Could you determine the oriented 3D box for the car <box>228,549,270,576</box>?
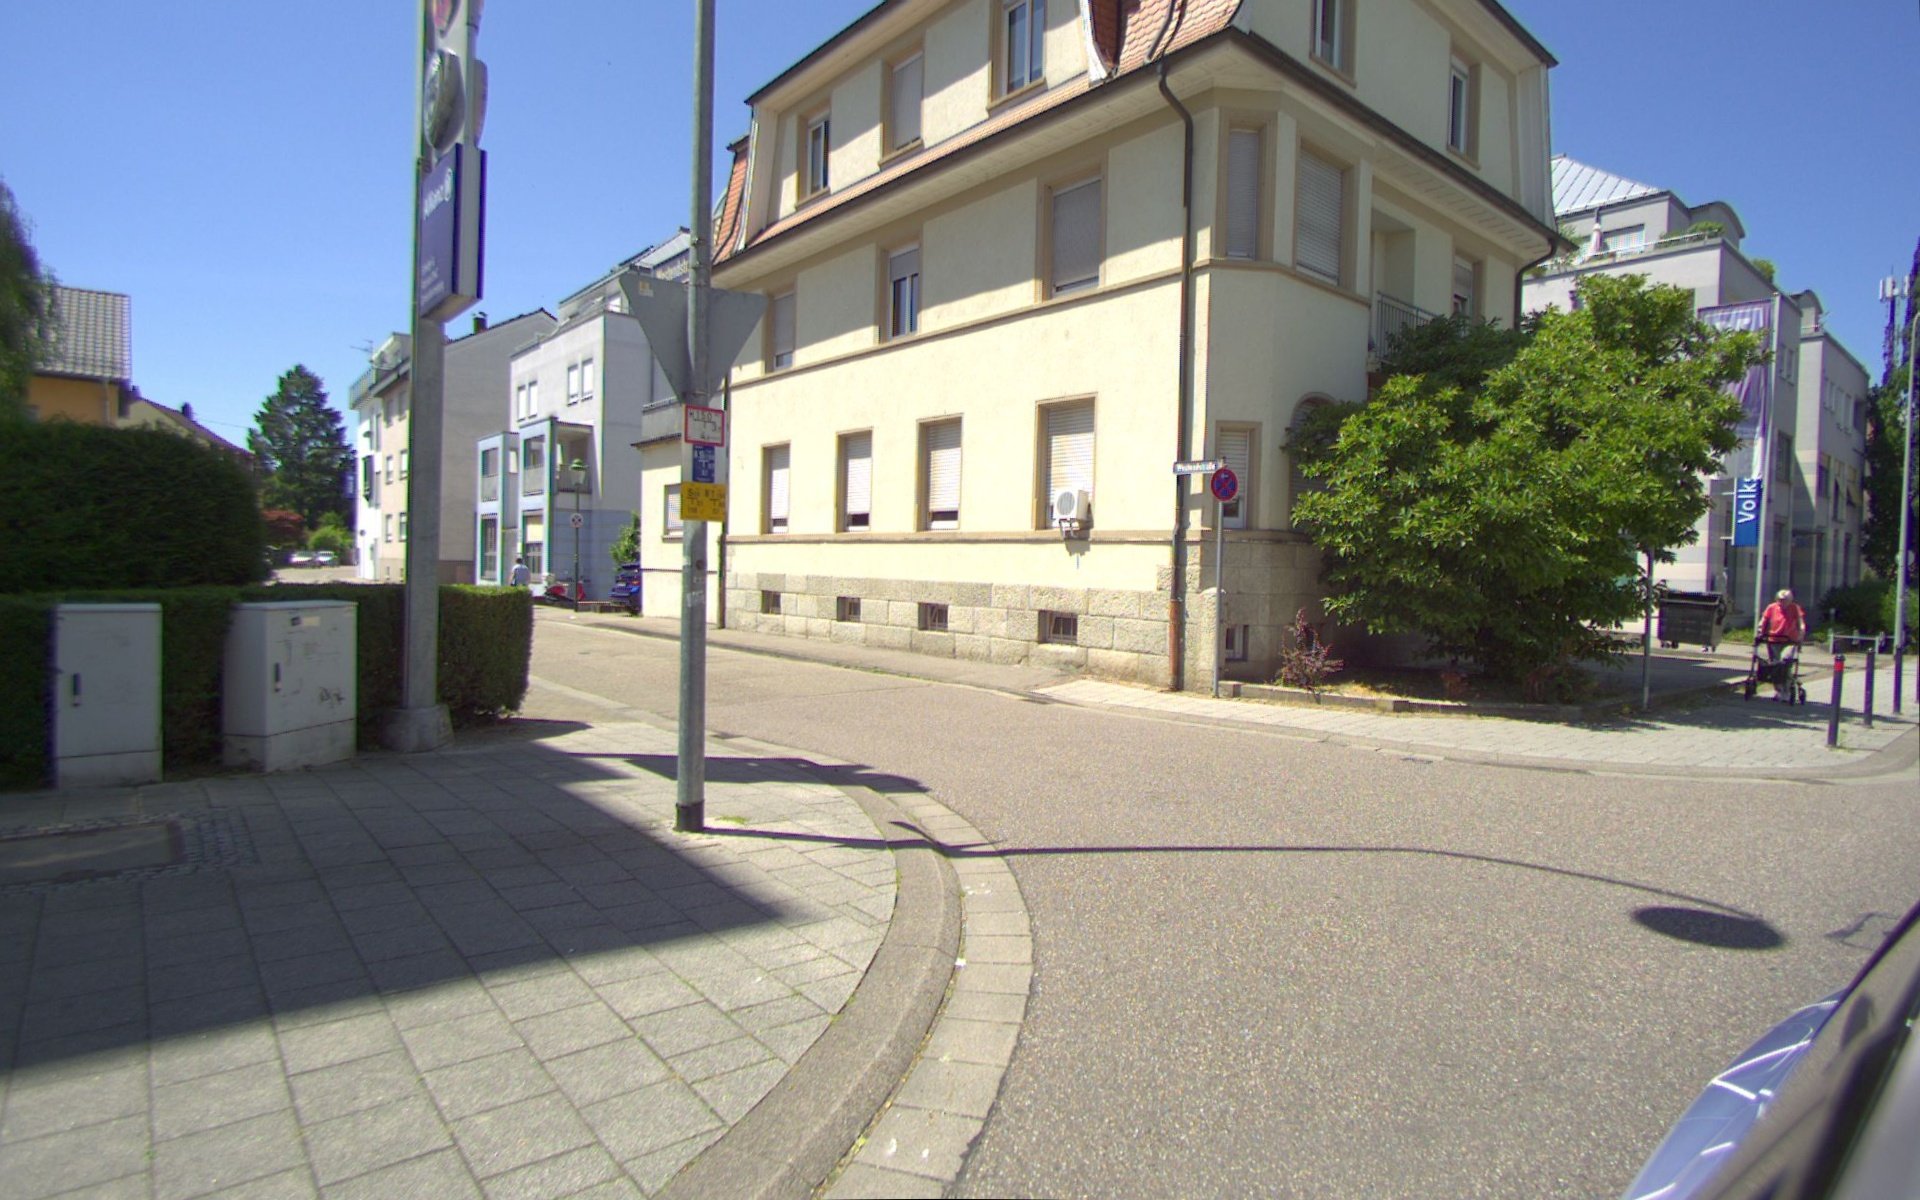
[{"bbox_3d":[-41.253,-2.167,58.677,1.789,1.518,3.886,1,1,-38],"label":"car"}]

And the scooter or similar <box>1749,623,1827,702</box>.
[{"bbox_3d":[11.274,0.834,13.777,0.740,0.975,0.665,1,3,-41],"label":"scooter or similar"}]

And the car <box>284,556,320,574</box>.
[{"bbox_3d":[-57.319,-3.045,88.173,1.958,1.518,4.596,1,1,-25],"label":"car"}]

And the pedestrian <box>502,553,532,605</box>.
[{"bbox_3d":[-14.108,-0.663,32.212,0.705,1.647,0.684,1,1,-40],"label":"pedestrian"}]

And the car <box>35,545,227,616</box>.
[{"bbox_3d":[-21.535,-0.489,26.369,1.693,1.707,3.712,2,1,45],"label":"car"}]

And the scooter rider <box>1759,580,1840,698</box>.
[{"bbox_3d":[11.770,0.528,14.191,0.757,1.568,0.717,1,2,-42],"label":"scooter rider"}]

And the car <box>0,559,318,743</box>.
[{"bbox_3d":[-7.969,0.373,8.740,1.838,1.434,3.793,2,1,44],"label":"car"}]

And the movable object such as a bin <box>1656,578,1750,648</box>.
[{"bbox_3d":[17.379,0.280,23.669,1.355,1.476,1.372,0,4,-38],"label":"movable object such as a bin"}]

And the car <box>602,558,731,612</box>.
[{"bbox_3d":[-8.573,-0.411,29.774,1.609,1.495,3.381,0,0,37],"label":"car"}]

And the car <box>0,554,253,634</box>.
[{"bbox_3d":[-17.077,-0.135,20.337,4.507,1.480,1.997,0,1,-41],"label":"car"}]

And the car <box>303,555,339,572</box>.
[{"bbox_3d":[-60.053,-3.402,95.143,1.958,1.518,4.452,1,1,-20],"label":"car"}]

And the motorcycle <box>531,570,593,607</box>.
[{"bbox_3d":[-13.392,-0.399,34.111,0.735,1.174,1.775,-1,2,44],"label":"motorcycle"}]
